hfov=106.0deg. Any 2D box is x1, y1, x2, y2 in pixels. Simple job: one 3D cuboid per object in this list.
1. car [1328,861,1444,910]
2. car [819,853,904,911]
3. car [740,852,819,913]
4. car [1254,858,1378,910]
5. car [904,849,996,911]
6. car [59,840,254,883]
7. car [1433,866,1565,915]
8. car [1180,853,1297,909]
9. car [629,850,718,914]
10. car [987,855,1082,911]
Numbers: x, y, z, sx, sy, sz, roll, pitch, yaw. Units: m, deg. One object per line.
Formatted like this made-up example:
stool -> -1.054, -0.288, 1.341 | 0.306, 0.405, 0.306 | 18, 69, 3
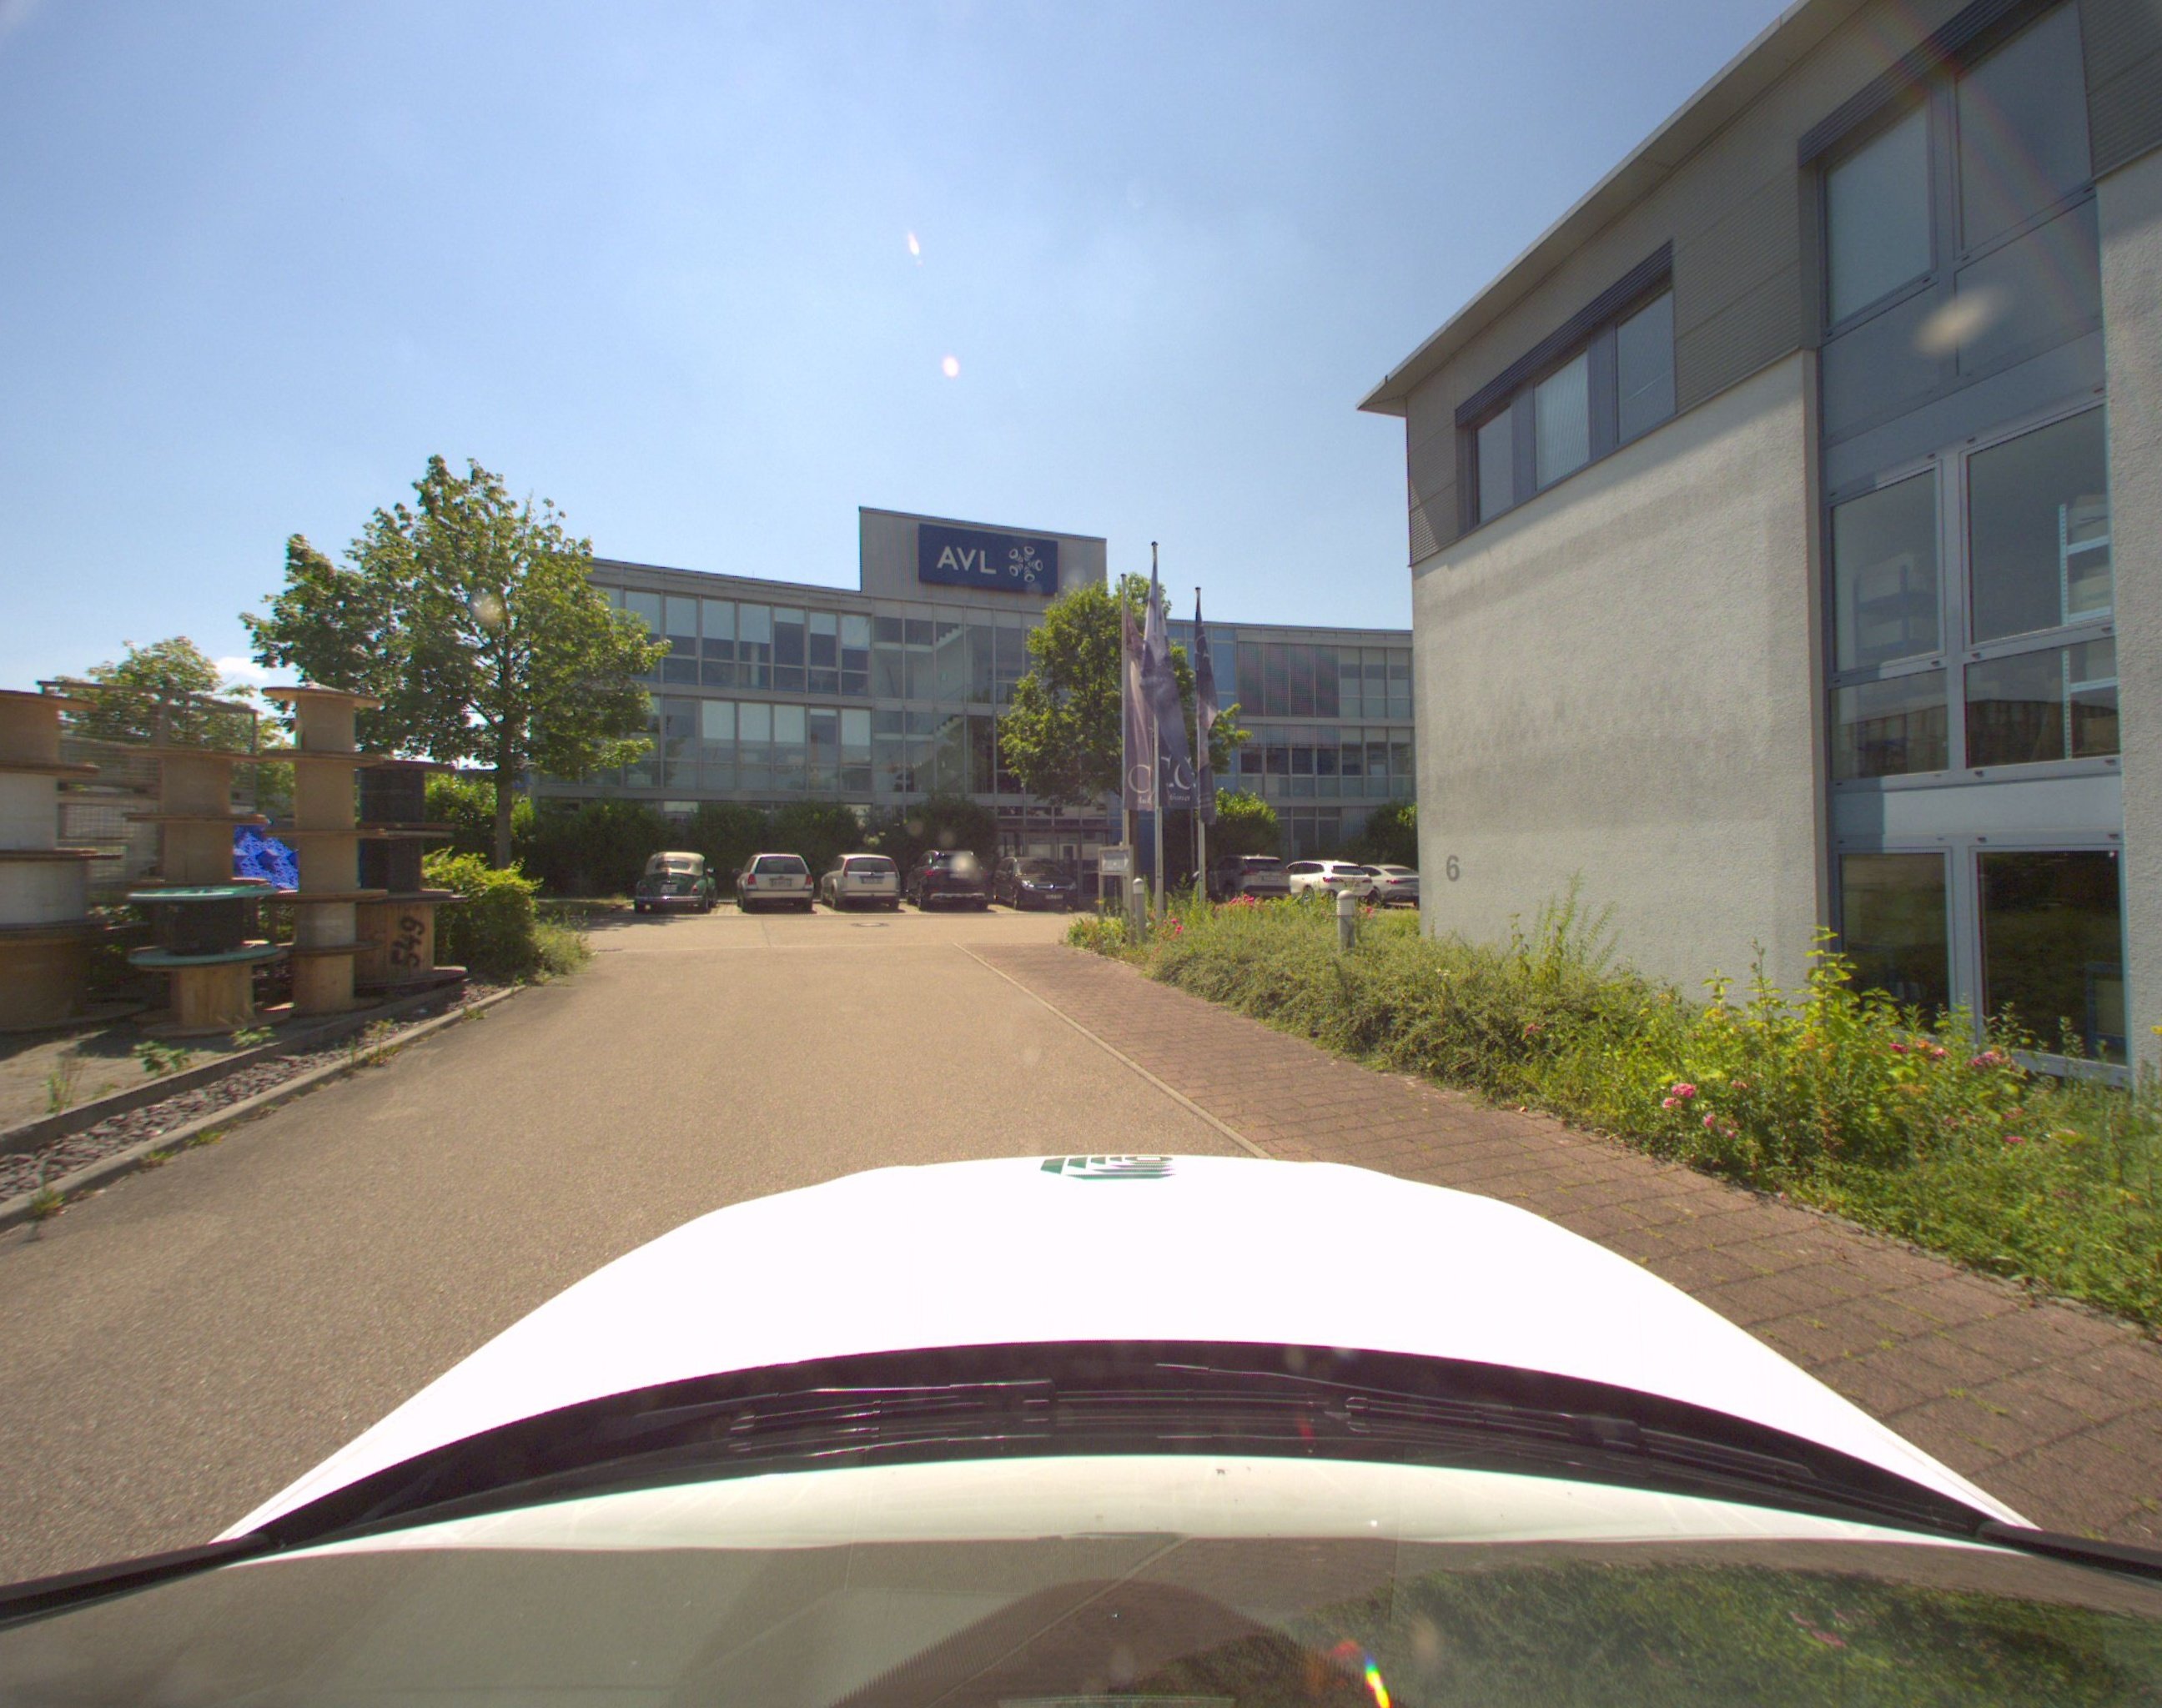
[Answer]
car -> 10.173, 1.008, 27.535 | 1.736, 1.429, 4.325 | 1, 0, -10
car -> -6.214, 0.730, 22.845 | 1.773, 1.449, 3.626 | 1, 0, -23
car -> -8.049, 0.698, 21.558 | 1.739, 1.449, 3.626 | 1, 0, -23
car -> 7.607, 0.932, 26.826 | 1.741, 1.492, 4.312 | 1, 0, -19
car -> -3.869, 0.697, 23.469 | 1.933, 1.610, 3.961 | 1, 0, -19
car -> -35.042, 0.278, 30.990 | 4.830, 1.491, 1.997 | 1, 0, -5
car -> 14.501, 1.219, 28.580 | 1.736, 1.447, 4.533 | 1, 0, -10
car -> 4.968, 0.782, 26.375 | 1.825, 1.619, 4.312 | 0, 0, -19
car -> -10.166, 0.648, 20.548 | 1.546, 1.449, 3.630 | 1, 0, -20
car -> -1.489, 0.789, 24.280 | 1.775, 1.482, 4.231 | 0, 0, -19
